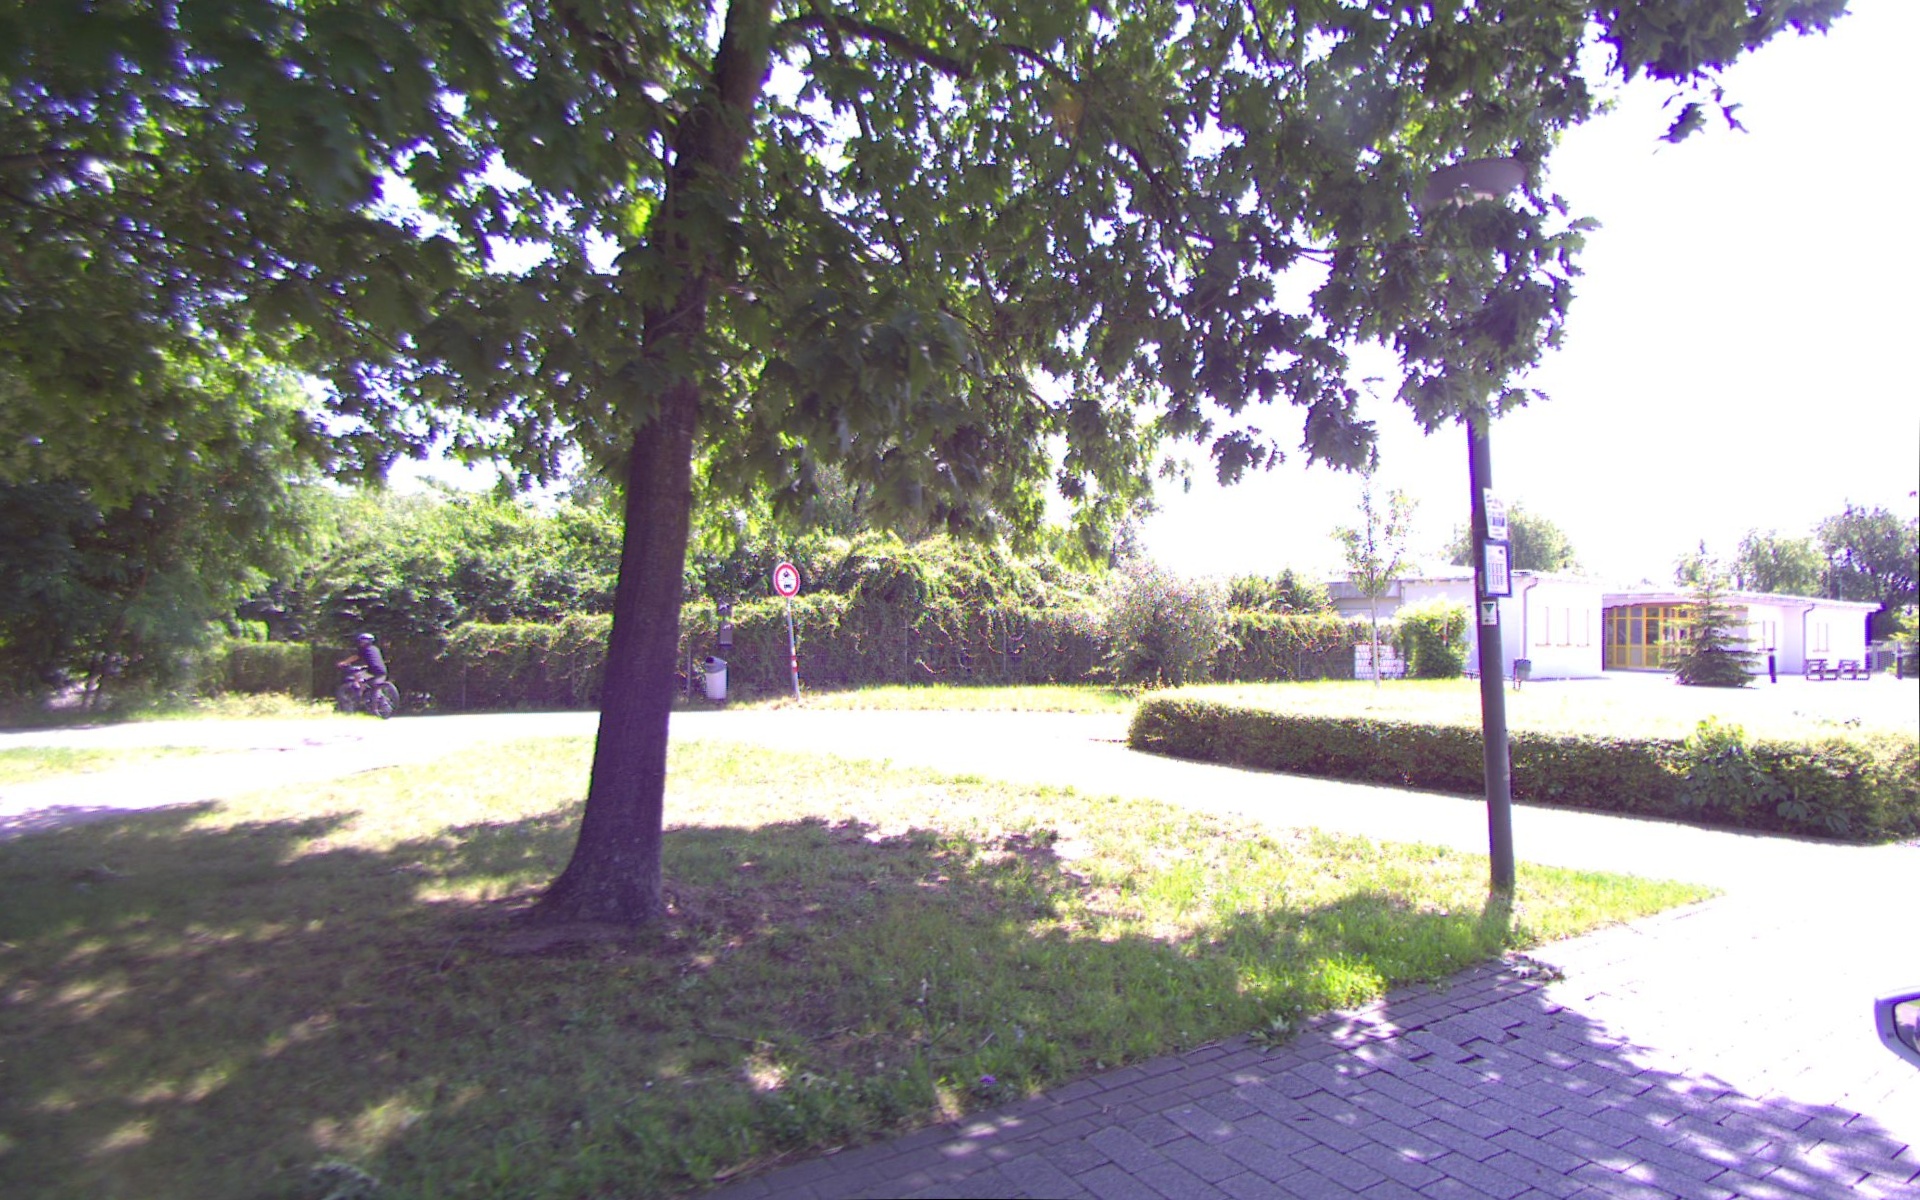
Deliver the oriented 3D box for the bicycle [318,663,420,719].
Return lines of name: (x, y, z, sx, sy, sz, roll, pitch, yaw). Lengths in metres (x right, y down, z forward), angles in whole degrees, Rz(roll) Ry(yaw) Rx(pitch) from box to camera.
bicycle: (-10.656, 1.627, 18.123, 1.587, 0.941, 0.599, 0, -2, 14)

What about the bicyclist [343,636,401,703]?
bicyclist: (-10.601, 1.248, 18.127, 0.635, 1.180, 0.599, 0, -2, 14)
